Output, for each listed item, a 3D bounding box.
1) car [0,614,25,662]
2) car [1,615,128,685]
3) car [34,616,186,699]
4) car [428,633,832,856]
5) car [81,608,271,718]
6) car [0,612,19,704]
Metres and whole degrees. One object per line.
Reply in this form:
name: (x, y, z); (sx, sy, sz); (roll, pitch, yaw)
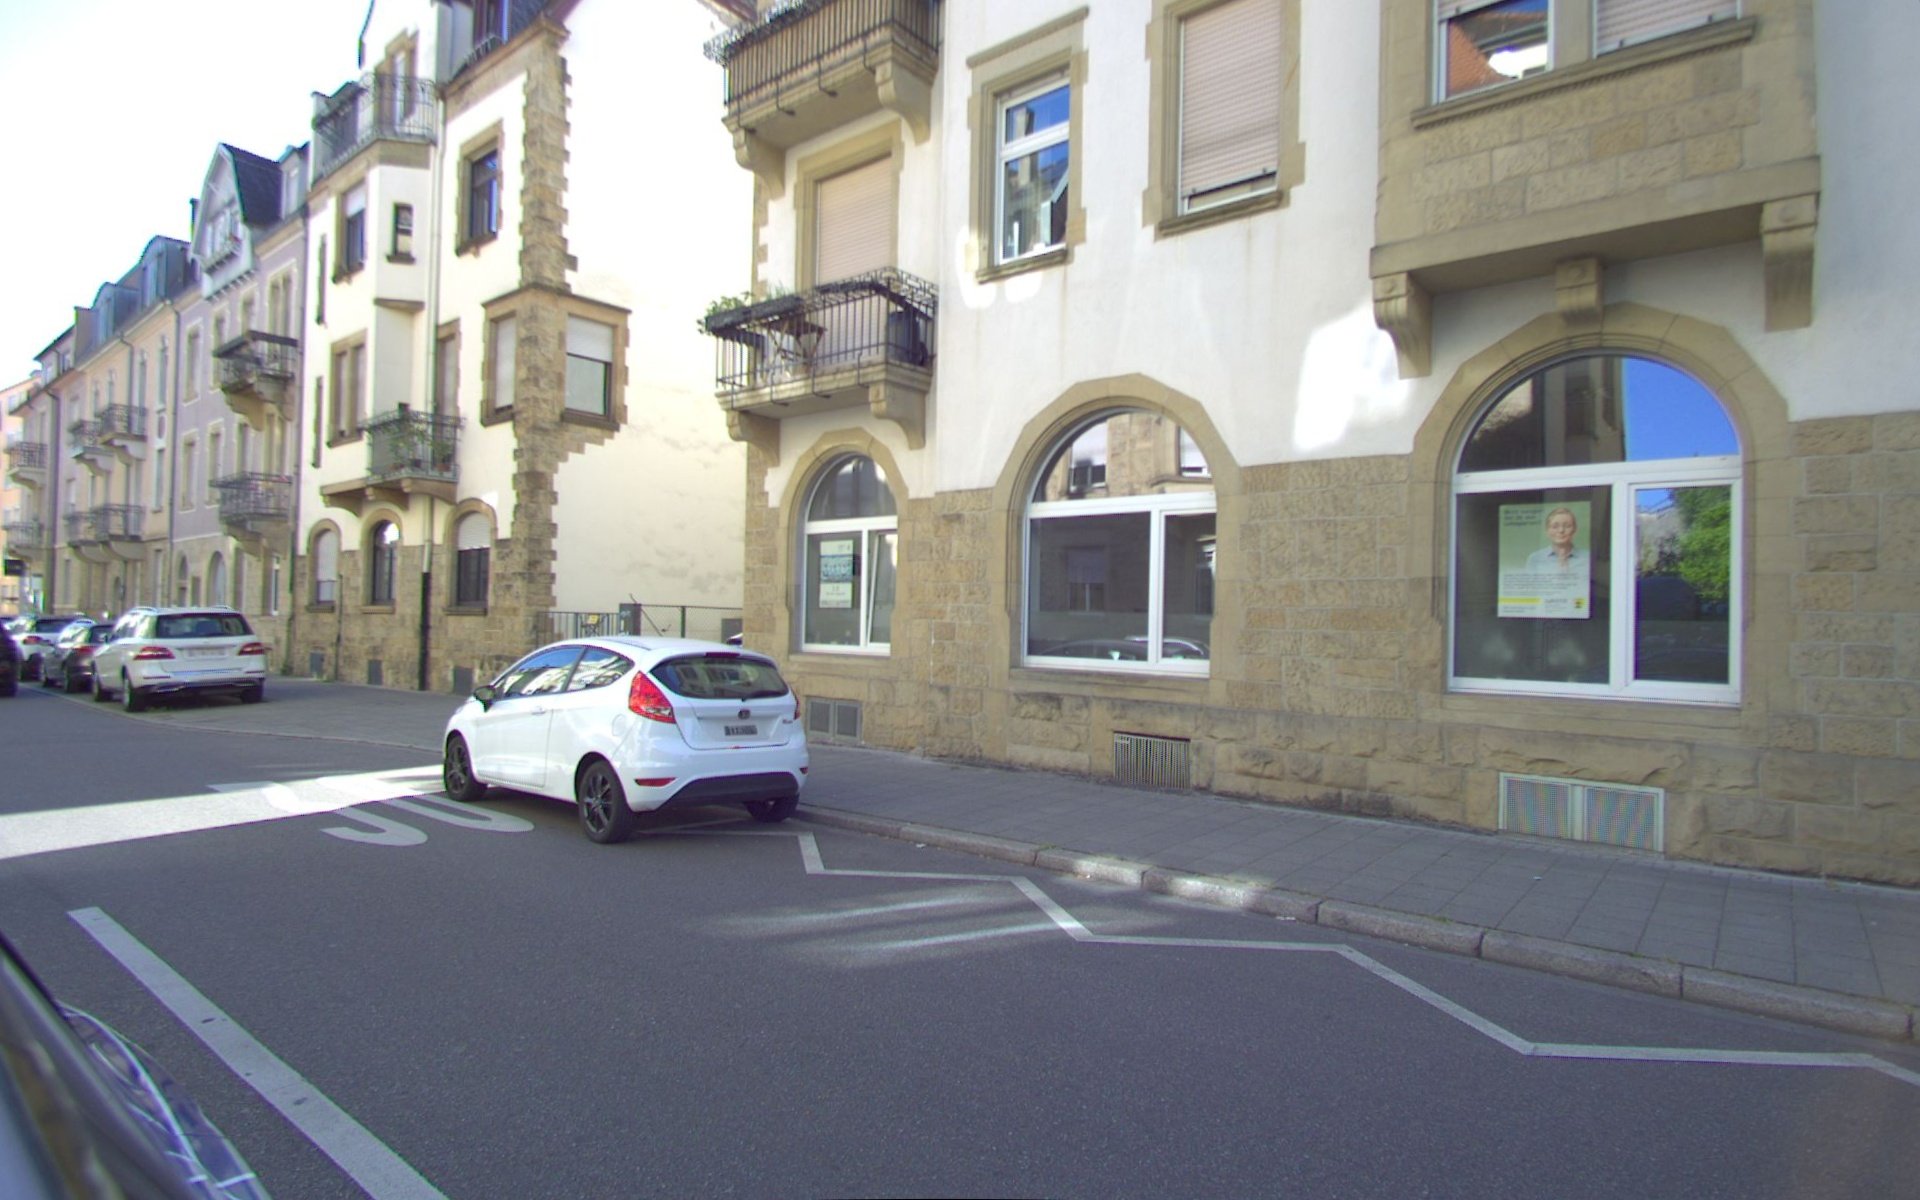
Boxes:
car: (-33.613, 1.288, 34.637); (4.344, 1.529, 1.893); (0, 1, 41)
car: (-22.960, 1.198, 25.902); (4.344, 1.529, 1.893); (0, 1, 41)
car: (-18.562, 1.162, 22.036); (4.344, 1.529, 1.893); (0, 1, 41)
car: (-2.831, 1.025, 8.330); (3.570, 1.422, 1.536); (-2, -5, 42)
car: (-14.149, 1.017, 18.178); (4.344, 1.671, 1.893); (0, 1, 41)
car: (-20.243, 1.103, 20.083); (4.345, 1.741, 1.892); (-1, -3, 42)
